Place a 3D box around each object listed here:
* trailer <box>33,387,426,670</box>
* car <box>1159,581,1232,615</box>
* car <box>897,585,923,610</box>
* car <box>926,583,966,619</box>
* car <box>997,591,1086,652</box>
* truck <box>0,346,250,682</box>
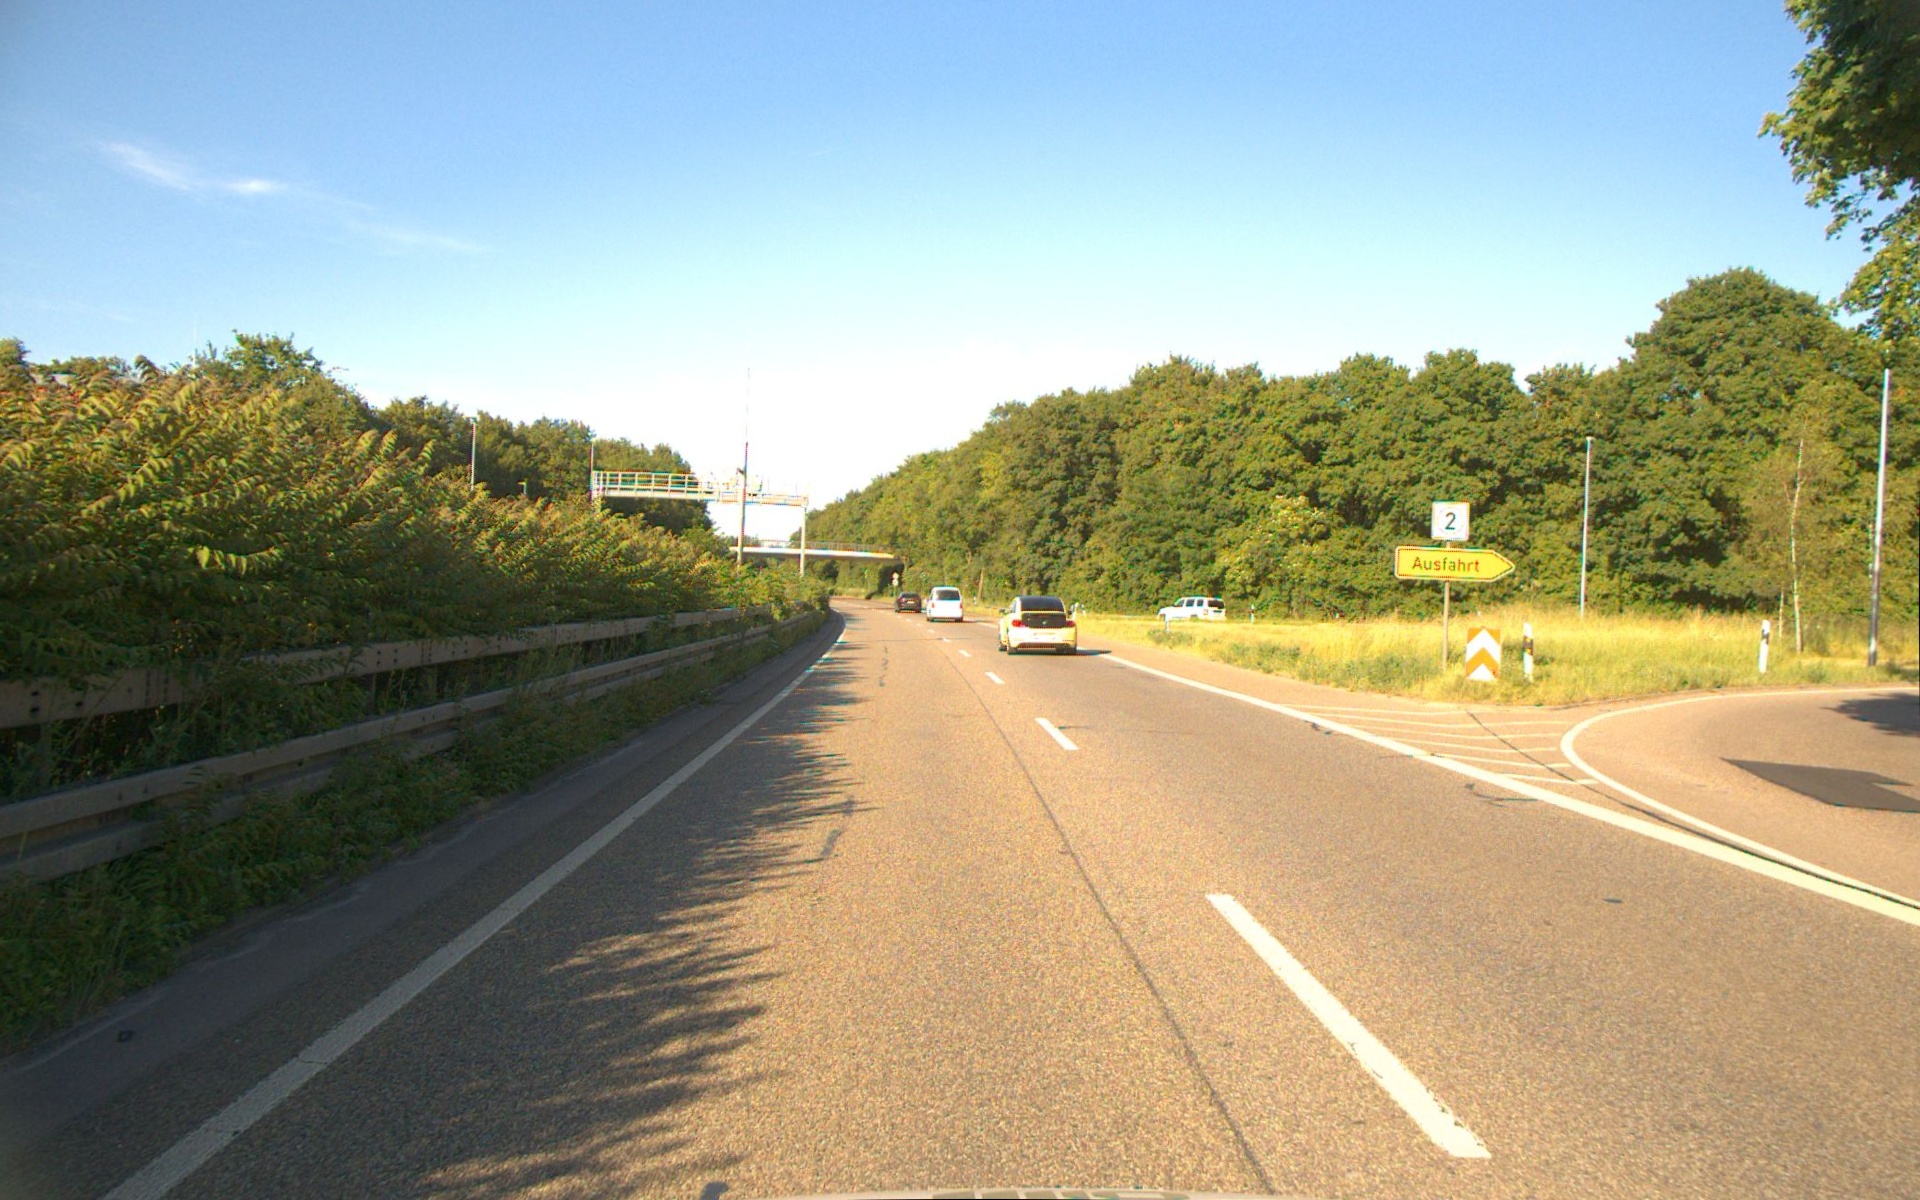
[{"bbox_3d":[-12.702,-1.142,30.198,2.595,4.195,10.697,1,1,-1],"label":"trailer"},{"bbox_3d":[13.257,-0.133,93.239,1.882,1.855,3.950,0,0,-36],"label":"car"},{"bbox_3d":[-3.633,-0.190,120.431,1.859,1.798,3.998,0,0,-2],"label":"car"},{"bbox_3d":[-0.736,0.029,86.390,1.860,1.798,3.997,0,1,-4],"label":"car"},{"bbox_3d":[2.067,0.517,42.914,1.859,1.496,3.997,0,0,-4],"label":"car"},{"bbox_3d":[-12.548,-1.124,23.471,2.595,4.195,5.560,1,1,-1],"label":"truck"}]
